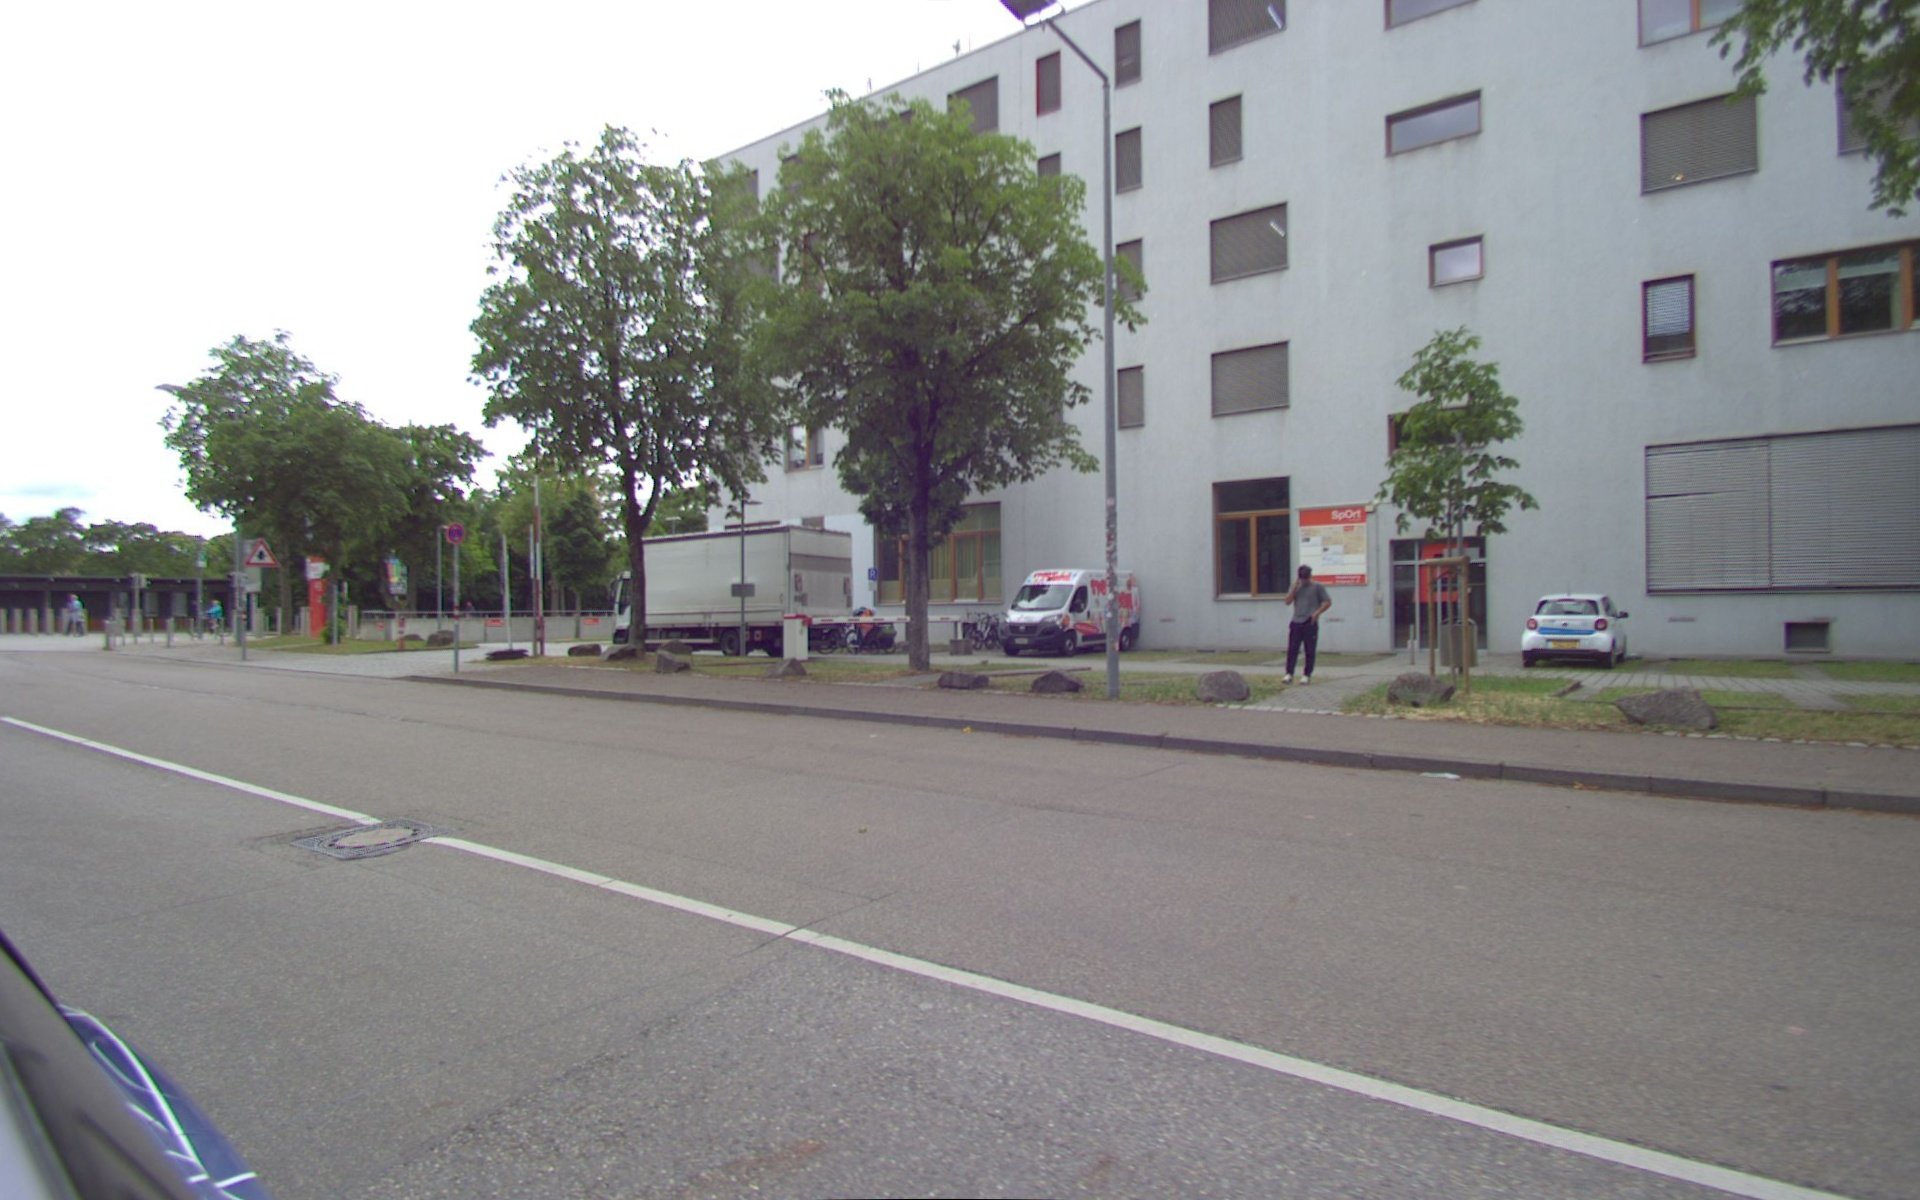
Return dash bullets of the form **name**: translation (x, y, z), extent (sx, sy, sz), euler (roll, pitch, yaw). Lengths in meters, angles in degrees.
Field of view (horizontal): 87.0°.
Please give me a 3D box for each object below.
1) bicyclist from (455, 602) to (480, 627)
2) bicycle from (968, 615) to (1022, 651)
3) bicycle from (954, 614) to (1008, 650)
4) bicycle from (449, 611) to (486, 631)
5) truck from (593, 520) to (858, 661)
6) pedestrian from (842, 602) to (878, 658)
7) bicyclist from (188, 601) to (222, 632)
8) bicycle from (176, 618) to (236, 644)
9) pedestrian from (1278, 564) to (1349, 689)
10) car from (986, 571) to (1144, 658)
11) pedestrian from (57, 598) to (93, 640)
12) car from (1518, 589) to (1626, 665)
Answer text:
- **bicyclist**: translation (-30.871, 0.875, 63.445), extent (0.923, 1.507, 1.091), euler (1, 1, 27)
- **bicycle**: translation (1.107, 1.024, 31.985), extent (0.613, 1.078, 2.004), euler (0, 1, 40)
- **bicycle**: translation (0.696, 1.019, 32.519), extent (0.613, 1.078, 2.004), euler (0, 1, 40)
- **bicycle**: translation (-30.868, 1.301, 63.452), extent (0.774, 1.152, 2.033), euler (1, 1, 27)
- **truck**: translation (-7.006, -0.289, 29.513), extent (8.345, 3.627, 2.654), euler (0, 1, 35)
- **pedestrian**: translation (-2.980, 0.883, 30.245), extent (0.880, 1.618, 0.675), euler (0, 0, 18)
- **bicyclist**: translation (-36.341, 0.770, 48.736), extent (0.741, 1.441, 1.146), euler (0, 1, 33)
- **bicycle**: translation (-36.321, 1.488, 48.777), extent (0.746, 1.132, 2.232), euler (0, 1, 33)
- **pedestrian**: translation (4.943, 0.353, 14.154), extent (0.784, 1.684, 0.837), euler (0, 1, 32)
- **car**: translation (3.182, 0.353, 29.427), extent (2.075, 2.296, 5.575), euler (0, 1, 36)
- **pedestrian**: translation (-40.198, 0.856, 45.977), extent (1.183, 1.847, 0.929), euler (0, 1, -44)
- **car**: translation (13.325, 0.514, 21.947), extent (1.689, 1.511, 3.579), euler (0, 1, 36)
